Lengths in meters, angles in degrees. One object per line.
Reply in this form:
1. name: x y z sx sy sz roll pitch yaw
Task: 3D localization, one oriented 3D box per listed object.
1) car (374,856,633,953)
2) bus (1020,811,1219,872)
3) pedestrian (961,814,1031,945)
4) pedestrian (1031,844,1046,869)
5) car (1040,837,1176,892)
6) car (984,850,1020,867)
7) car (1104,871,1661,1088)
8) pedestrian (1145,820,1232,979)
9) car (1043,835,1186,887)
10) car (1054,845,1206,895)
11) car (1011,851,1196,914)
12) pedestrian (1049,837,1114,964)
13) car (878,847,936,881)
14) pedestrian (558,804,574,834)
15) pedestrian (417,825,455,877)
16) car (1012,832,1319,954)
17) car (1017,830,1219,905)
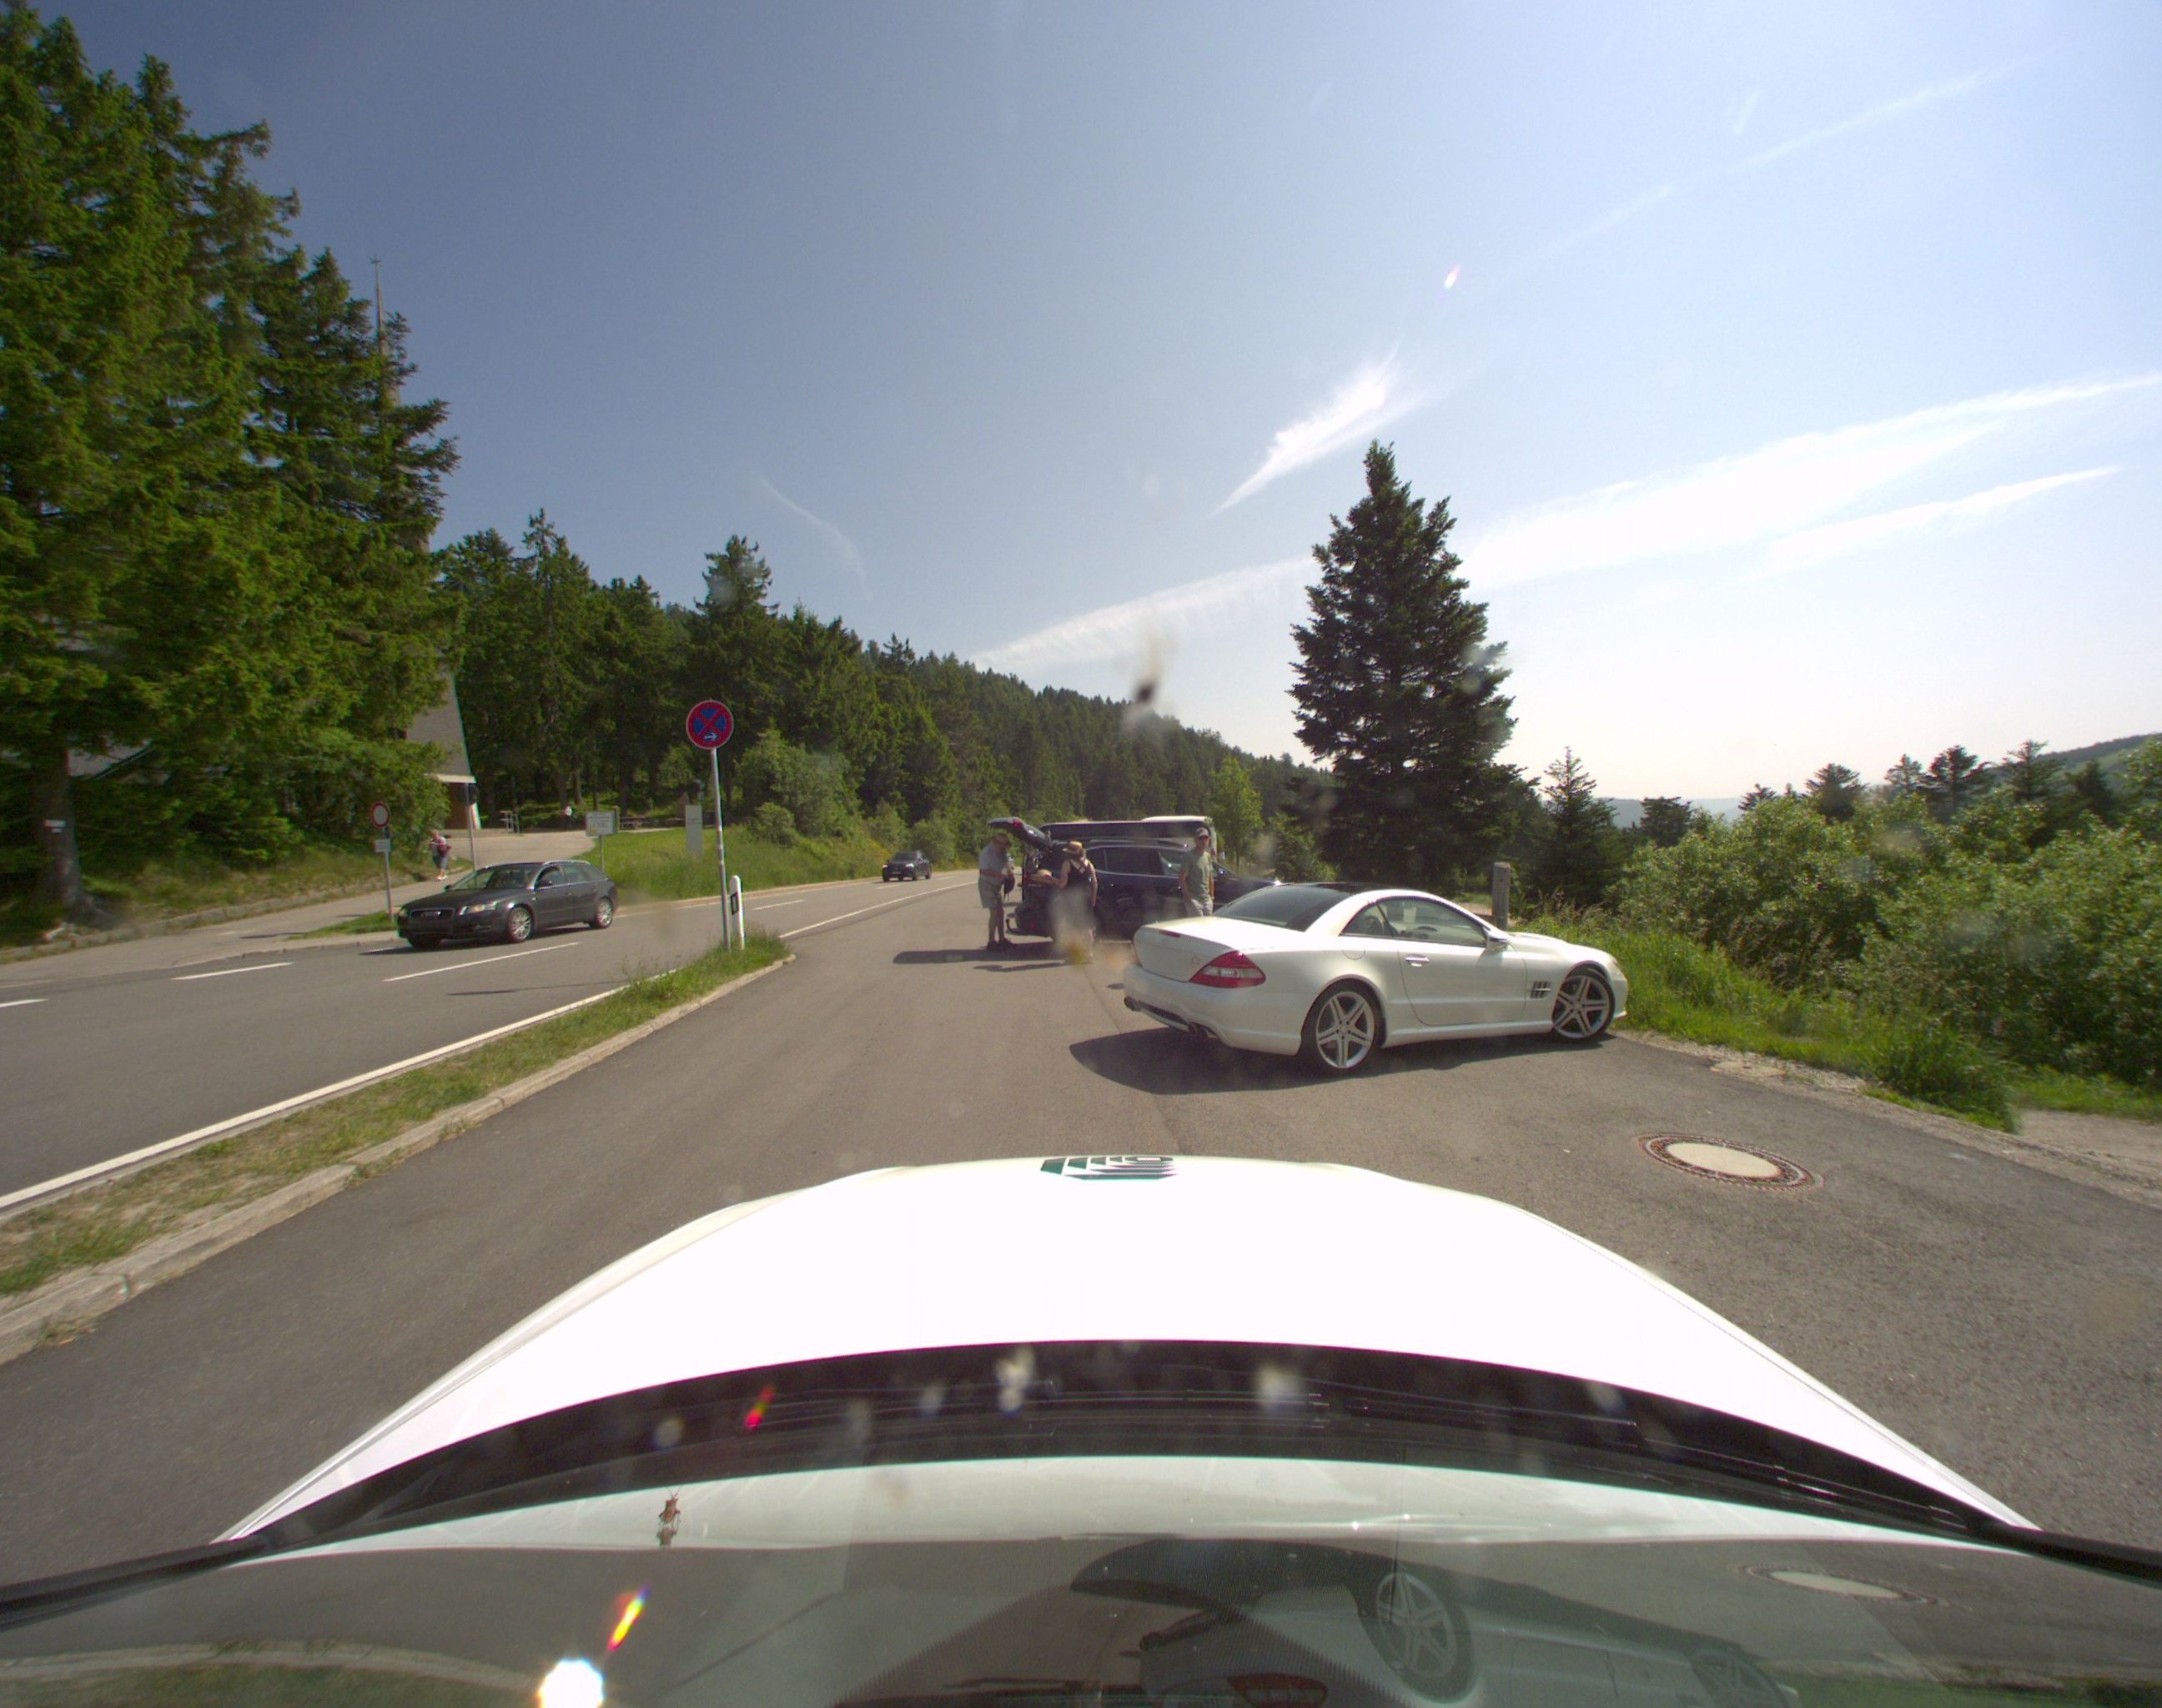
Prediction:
1. car: -10.615 0.832 15.469 1.701 1.437 4.448 -3 1 -1
2. bus: 2.671 -0.806 55.083 13.015 3.532 3.052 -2 0 9
3. pedestrian: -1.254 0.348 12.108 0.728 1.870 0.763 1 3 29
4. pedestrian: -2.743 0.165 52.348 0.766 1.585 0.774 -2 0 6
5. car: 0.854 0.328 26.616 4.231 1.553 1.837 -2 0 -1
6. car: -7.000 0.380 72.796 1.867 1.474 4.728 -1 0 11
7. car: 2.558 0.834 6.822 4.417 1.296 1.742 1 1 -24
8. pedestrian: 1.282 0.520 9.765 0.751 1.800 0.728 0 -1 -33
9. car: 1.181 0.239 29.737 5.019 1.651 2.047 -2 0 -1
10. car: 1.386 0.445 23.942 4.231 1.269 1.837 -2 0 -1
11. car: 0.466 0.628 18.818 4.078 1.376 1.698 0 0 -7
12. pedestrian: -0.002 0.597 10.725 0.716 1.613 0.533 0 -1 -21
13. car: -9.515 0.522 44.934 1.986 1.647 4.570 -3 1 2
14. pedestrian: -33.704 -2.279 53.279 0.674 1.877 0.545 -3 0 32
15. pedestrian: -21.362 -0.093 26.984 0.722 1.681 0.678 -3 0 -20
16. car: 1.156 0.570 12.354 4.339 1.626 1.866 1 -1 -7
17. car: 0.941 0.324 21.048 4.931 1.695 1.946 -2 0 1
